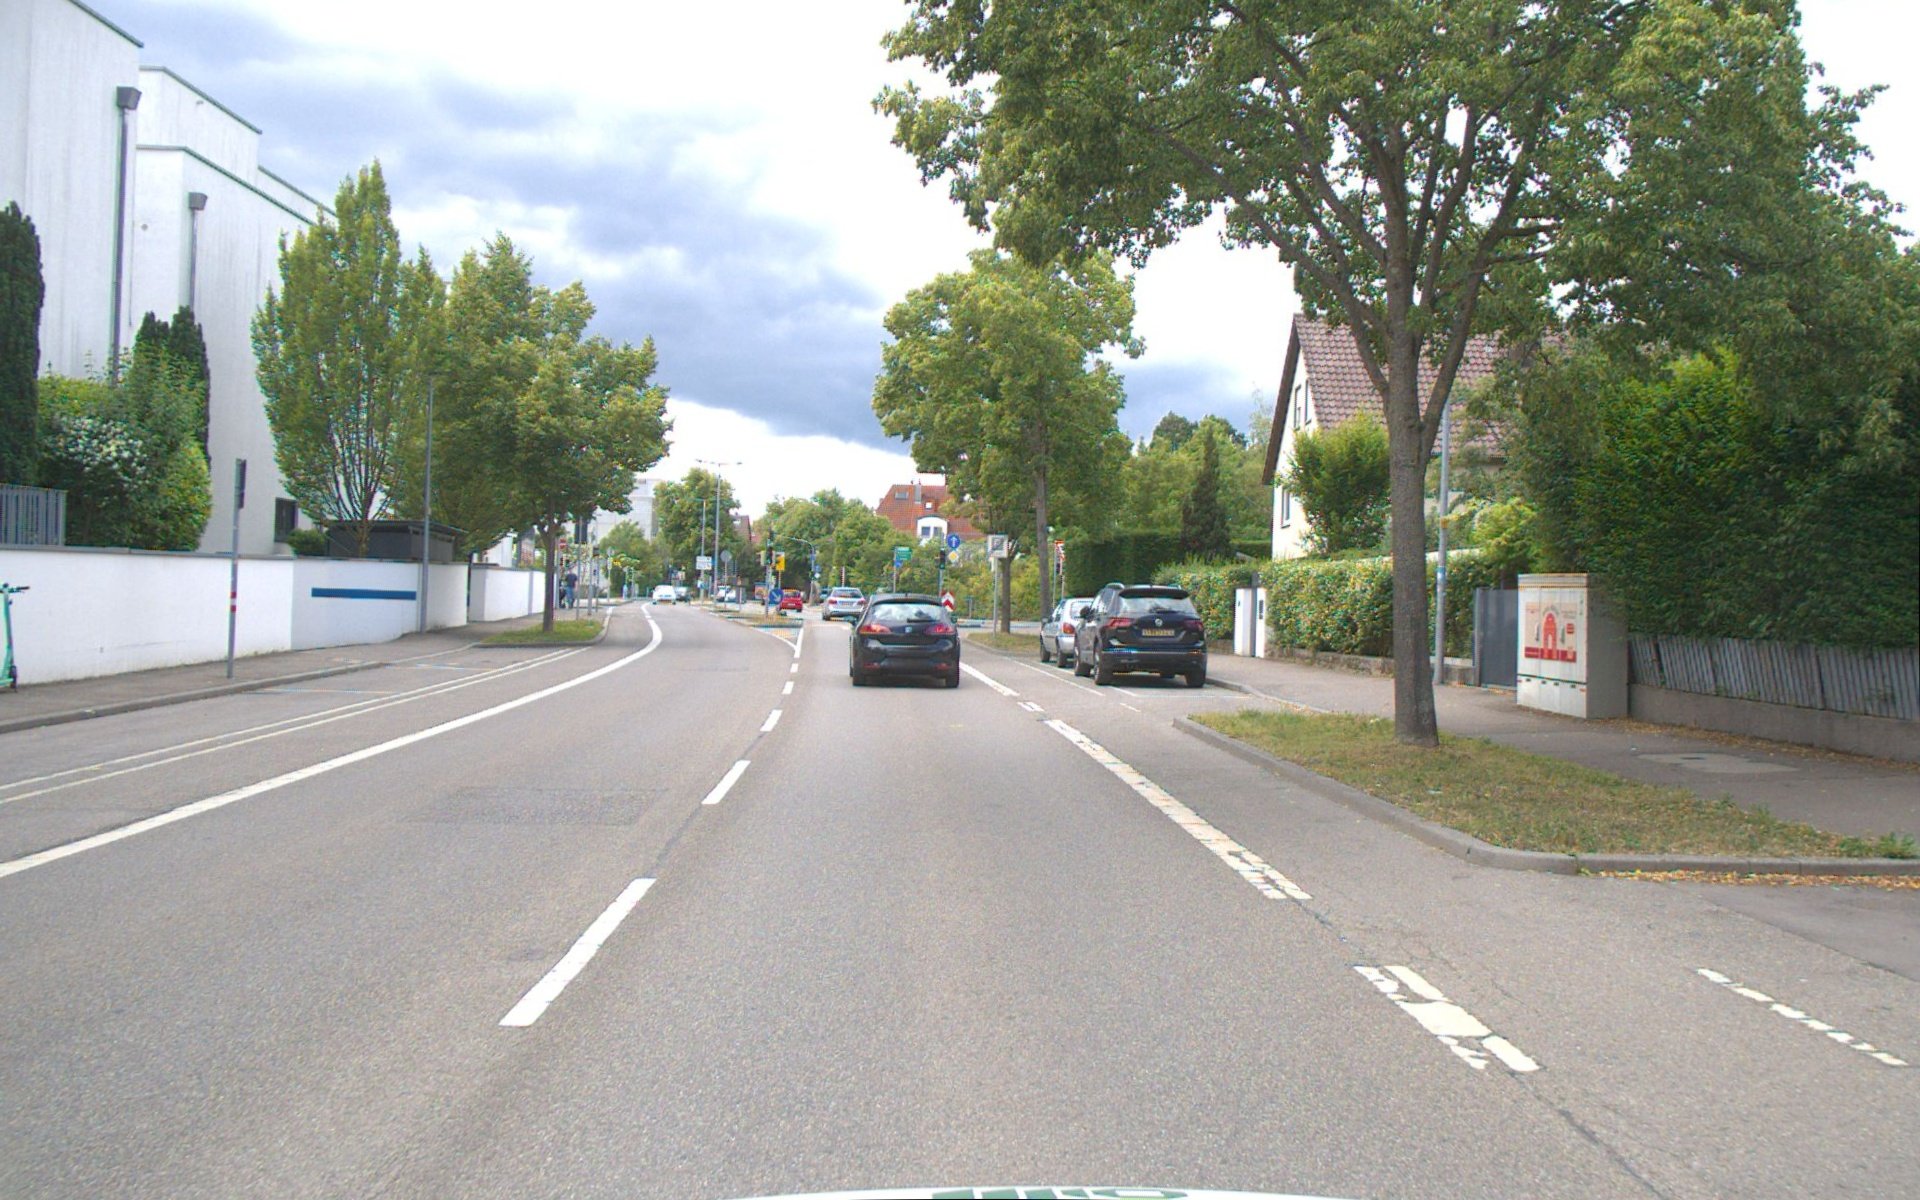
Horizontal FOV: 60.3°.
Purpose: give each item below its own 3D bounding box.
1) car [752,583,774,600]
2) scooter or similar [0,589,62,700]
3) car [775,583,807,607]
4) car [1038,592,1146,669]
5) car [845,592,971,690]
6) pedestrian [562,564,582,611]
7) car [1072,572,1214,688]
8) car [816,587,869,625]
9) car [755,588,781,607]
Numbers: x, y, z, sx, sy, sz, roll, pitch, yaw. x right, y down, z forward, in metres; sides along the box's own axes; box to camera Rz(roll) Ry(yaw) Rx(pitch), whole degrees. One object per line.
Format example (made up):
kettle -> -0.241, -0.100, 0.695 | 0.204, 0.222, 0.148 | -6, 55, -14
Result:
car -> -20.684, -0.907, 173.671 | 1.933, 1.705, 3.876 | 1, 0, -2
scooter or similar -> -10.562, 0.474, 18.388 | 0.492, 1.174, 1.300 | 1, 0, -3
car -> -11.497, -0.347, 112.531 | 1.957, 1.557, 3.992 | 1, 0, -9
car -> 2.681, 0.606, 34.248 | 1.653, 1.474, 3.576 | 1, 0, -5
car -> -0.917, 0.630, 27.224 | 1.749, 1.474, 3.552 | 1, 0, -7
pedestrian -> -17.517, -0.561, 74.753 | 0.738, 2.090, 0.724 | 2, -1, -8
car -> 3.056, 0.485, 28.313 | 1.753, 1.803, 3.980 | 1, 0, -3
car -> -5.288, 0.253, 73.950 | 1.957, 1.585, 3.990 | -2, 1, -10
car -> -16.995, -0.215, 146.639 | 1.954, 1.534, 3.997 | 2, -1, -3
